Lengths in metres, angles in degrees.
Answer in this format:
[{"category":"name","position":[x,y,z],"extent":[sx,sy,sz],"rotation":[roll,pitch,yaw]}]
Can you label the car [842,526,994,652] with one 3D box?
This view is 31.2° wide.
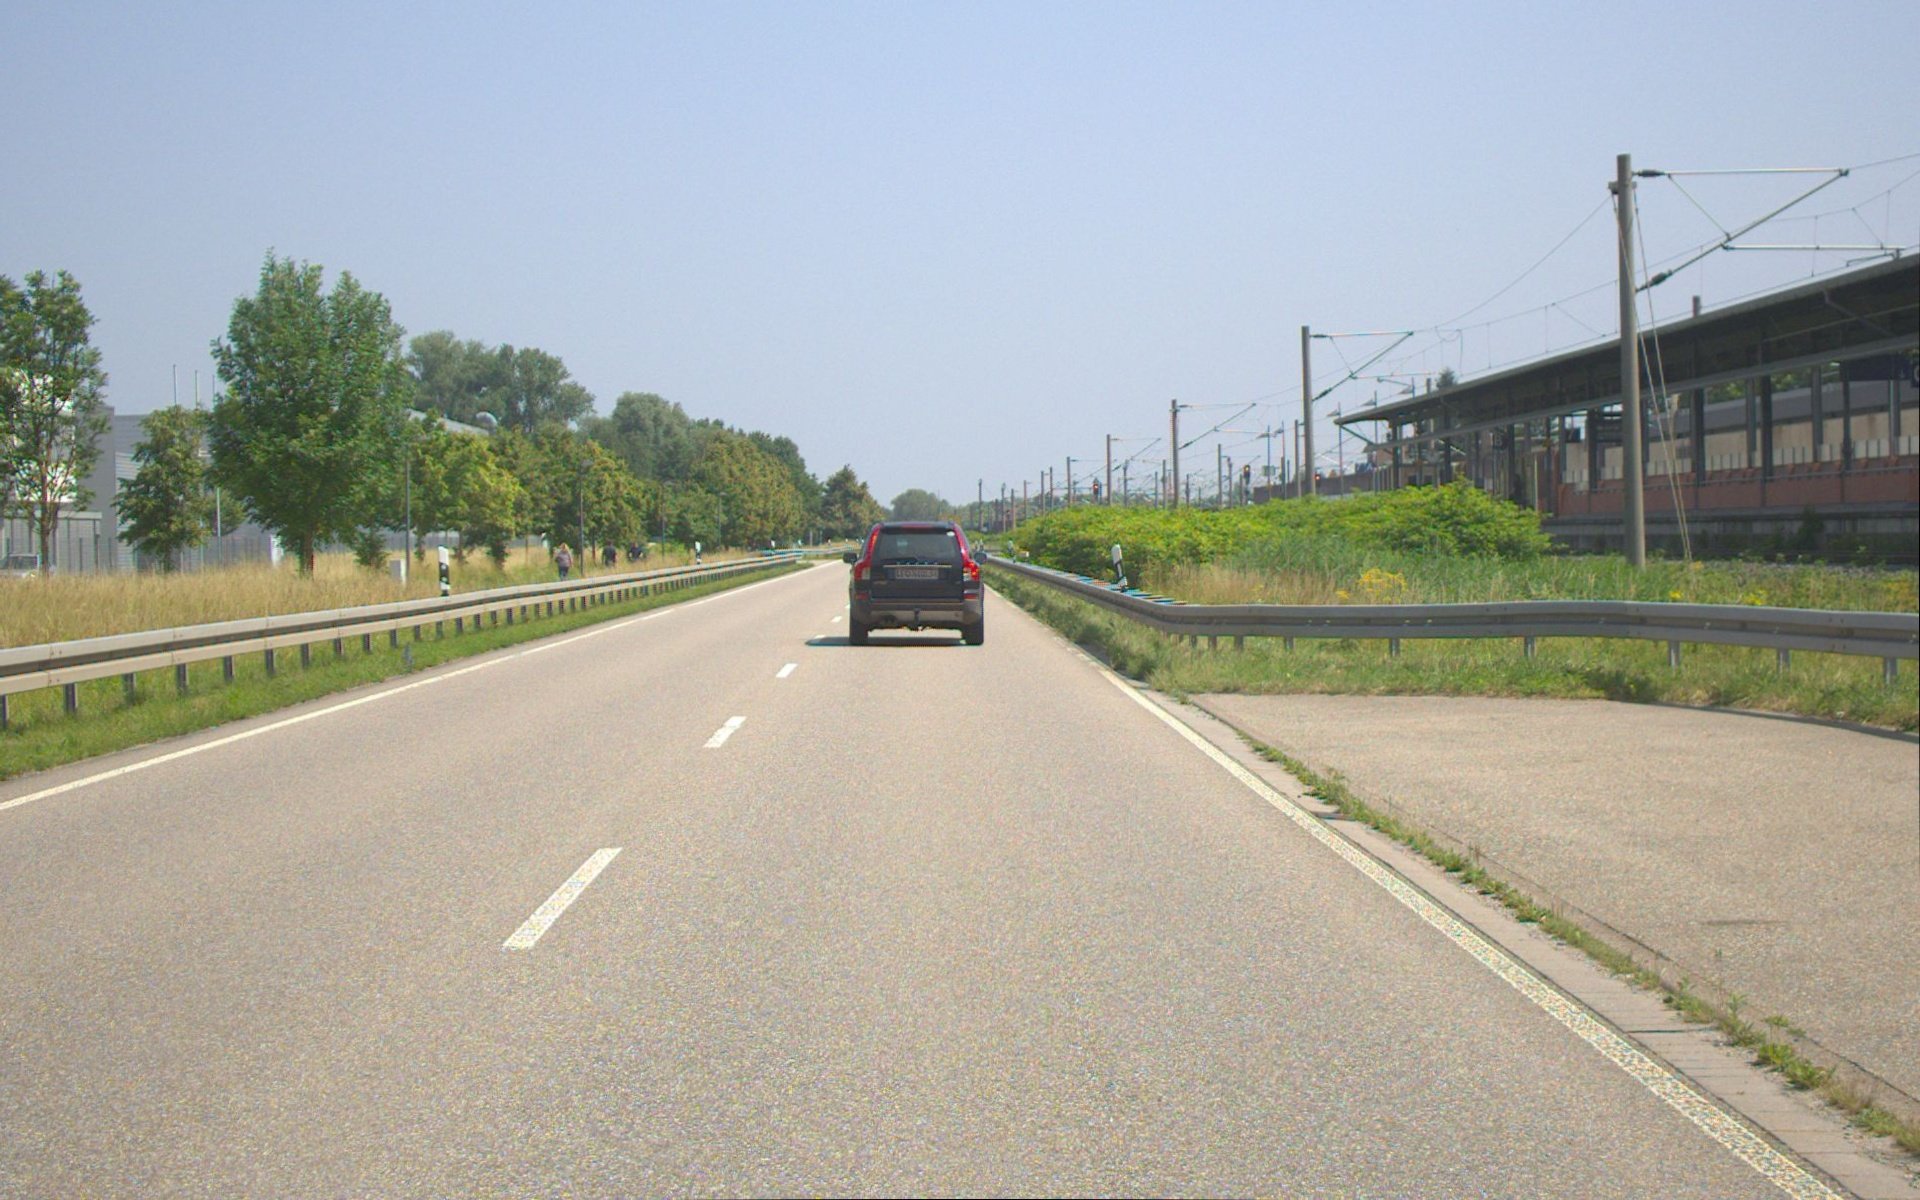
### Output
[{"category":"car","position":[-0.640,-0.190,48.680],"extent":[1.993,1.694,4.001],"rotation":[0,1,-3]}]
